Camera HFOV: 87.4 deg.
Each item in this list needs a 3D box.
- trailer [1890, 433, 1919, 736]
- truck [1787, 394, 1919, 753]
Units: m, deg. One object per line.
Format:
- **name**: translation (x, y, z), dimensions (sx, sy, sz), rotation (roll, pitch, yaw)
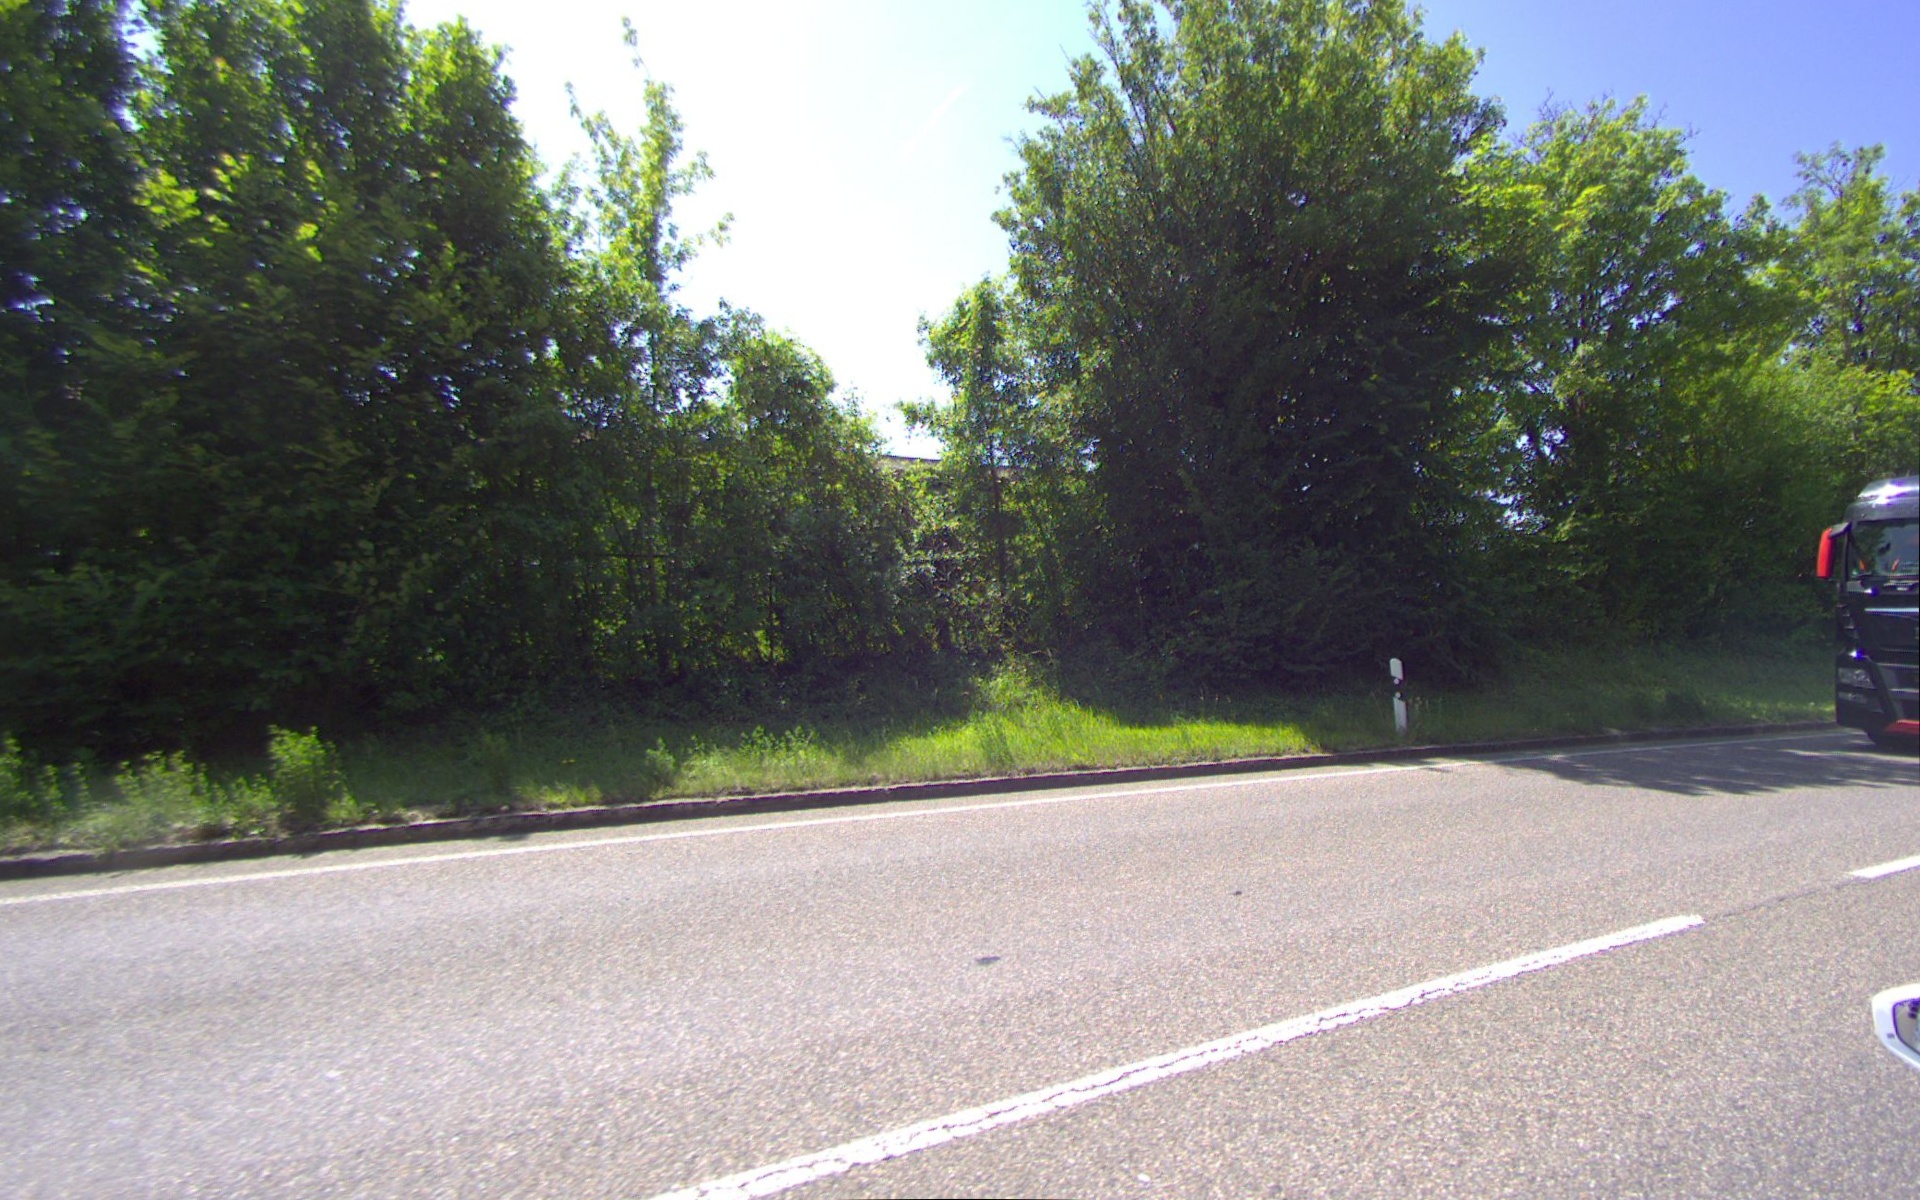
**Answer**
- **trailer**: translation (18.897, -0.054, 15.485), dimensions (11.117, 4.238, 2.911), rotation (2, 0, -27)
- **truck**: translation (13.986, -0.229, 12.981), dimensions (5.841, 4.238, 2.912), rotation (2, 0, -26)
